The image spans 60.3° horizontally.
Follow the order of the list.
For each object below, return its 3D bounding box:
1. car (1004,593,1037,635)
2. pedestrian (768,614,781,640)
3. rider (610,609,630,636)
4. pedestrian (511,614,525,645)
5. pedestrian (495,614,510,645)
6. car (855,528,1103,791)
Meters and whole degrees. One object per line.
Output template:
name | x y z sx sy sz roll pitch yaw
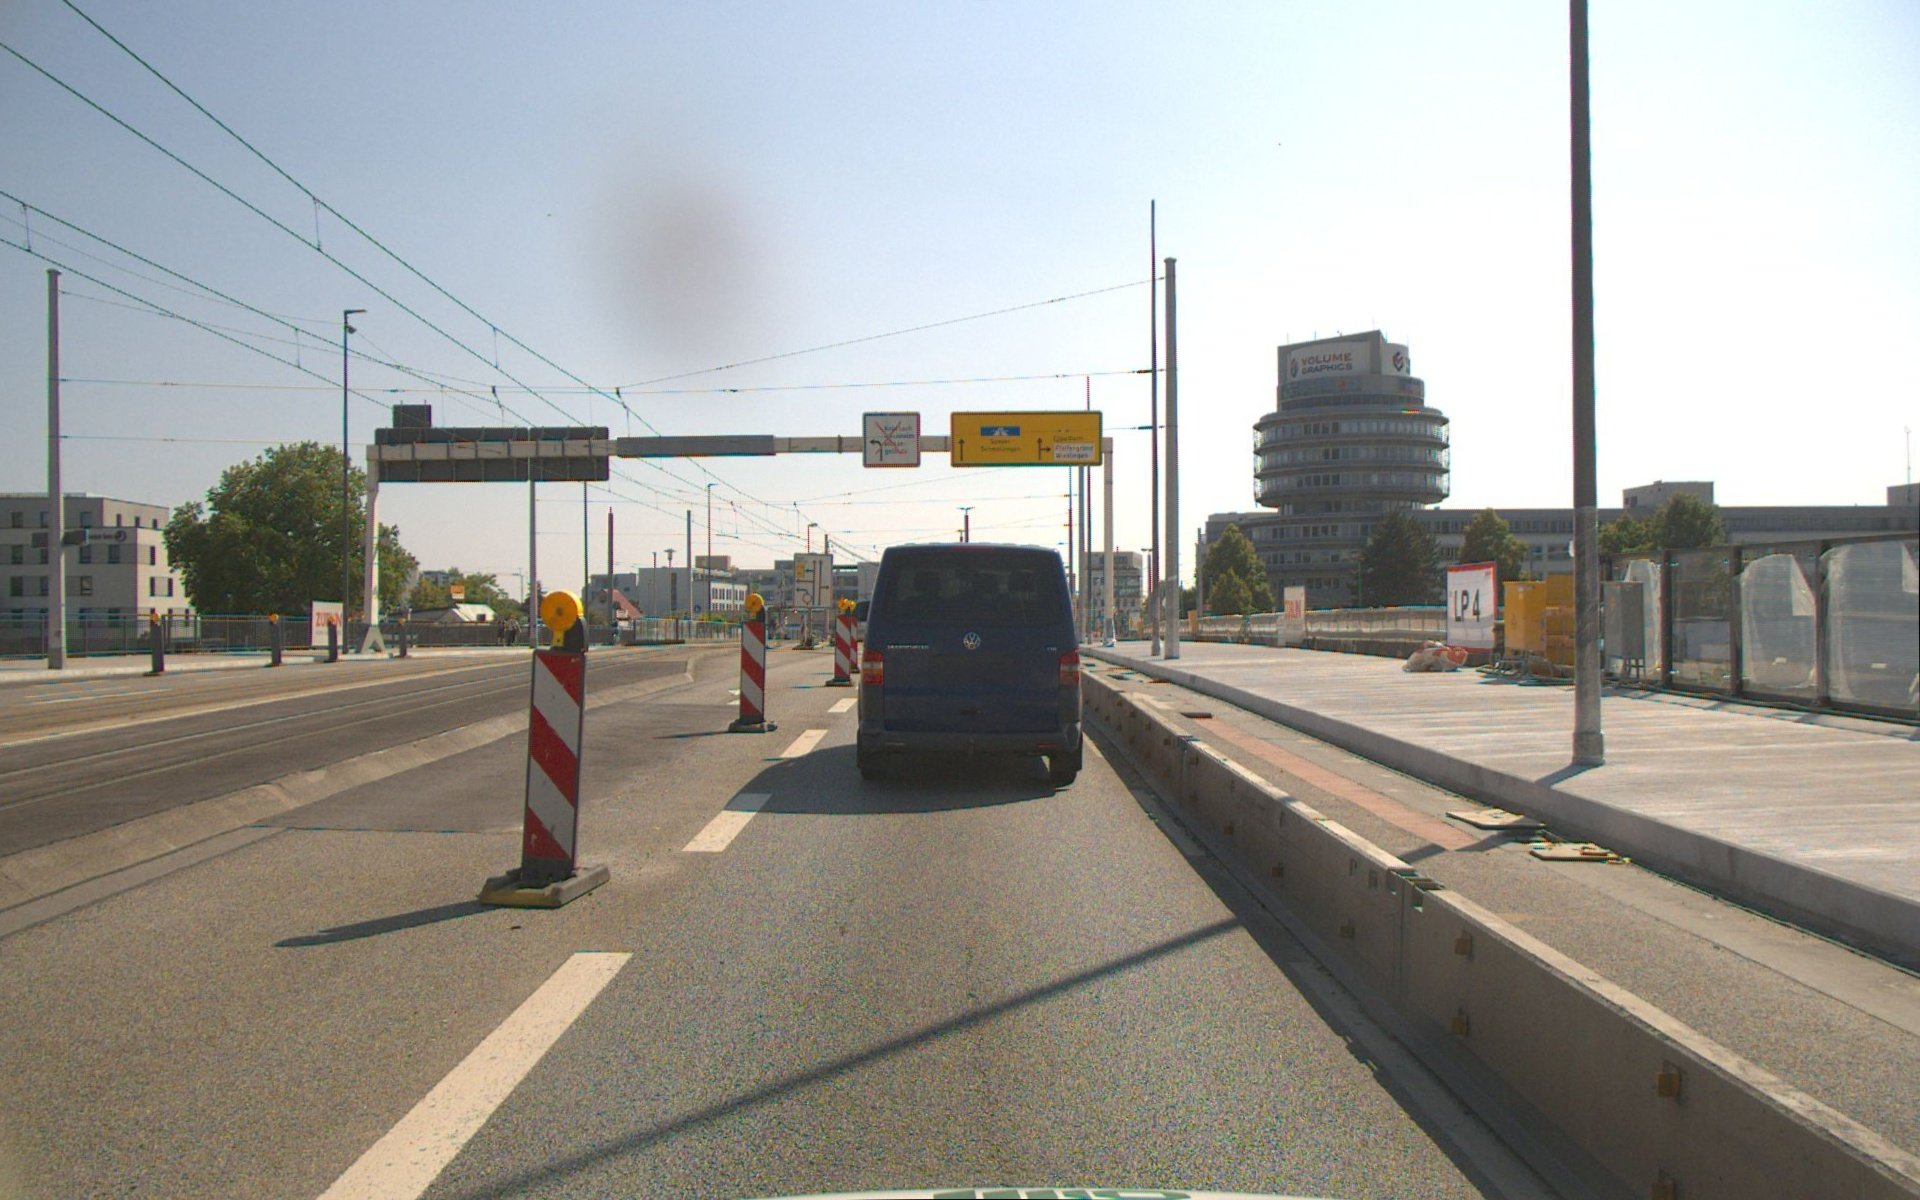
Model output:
car | 4.410 1.003 120.779 2.290 2.937 5.971 1 0 2
pedestrian | -12.163 1.741 108.304 0.646 1.683 0.740 -1 -1 14
rider | -22.142 1.463 107.793 0.748 1.763 2.951 0 0 -1
pedestrian | -24.370 1.620 91.190 0.476 1.717 0.808 -1 -1 3
pedestrian | -25.148 1.617 90.936 0.585 1.717 0.818 -1 -1 3
car | 0.128 0.474 14.603 1.849 1.968 3.999 1 -1 -1
